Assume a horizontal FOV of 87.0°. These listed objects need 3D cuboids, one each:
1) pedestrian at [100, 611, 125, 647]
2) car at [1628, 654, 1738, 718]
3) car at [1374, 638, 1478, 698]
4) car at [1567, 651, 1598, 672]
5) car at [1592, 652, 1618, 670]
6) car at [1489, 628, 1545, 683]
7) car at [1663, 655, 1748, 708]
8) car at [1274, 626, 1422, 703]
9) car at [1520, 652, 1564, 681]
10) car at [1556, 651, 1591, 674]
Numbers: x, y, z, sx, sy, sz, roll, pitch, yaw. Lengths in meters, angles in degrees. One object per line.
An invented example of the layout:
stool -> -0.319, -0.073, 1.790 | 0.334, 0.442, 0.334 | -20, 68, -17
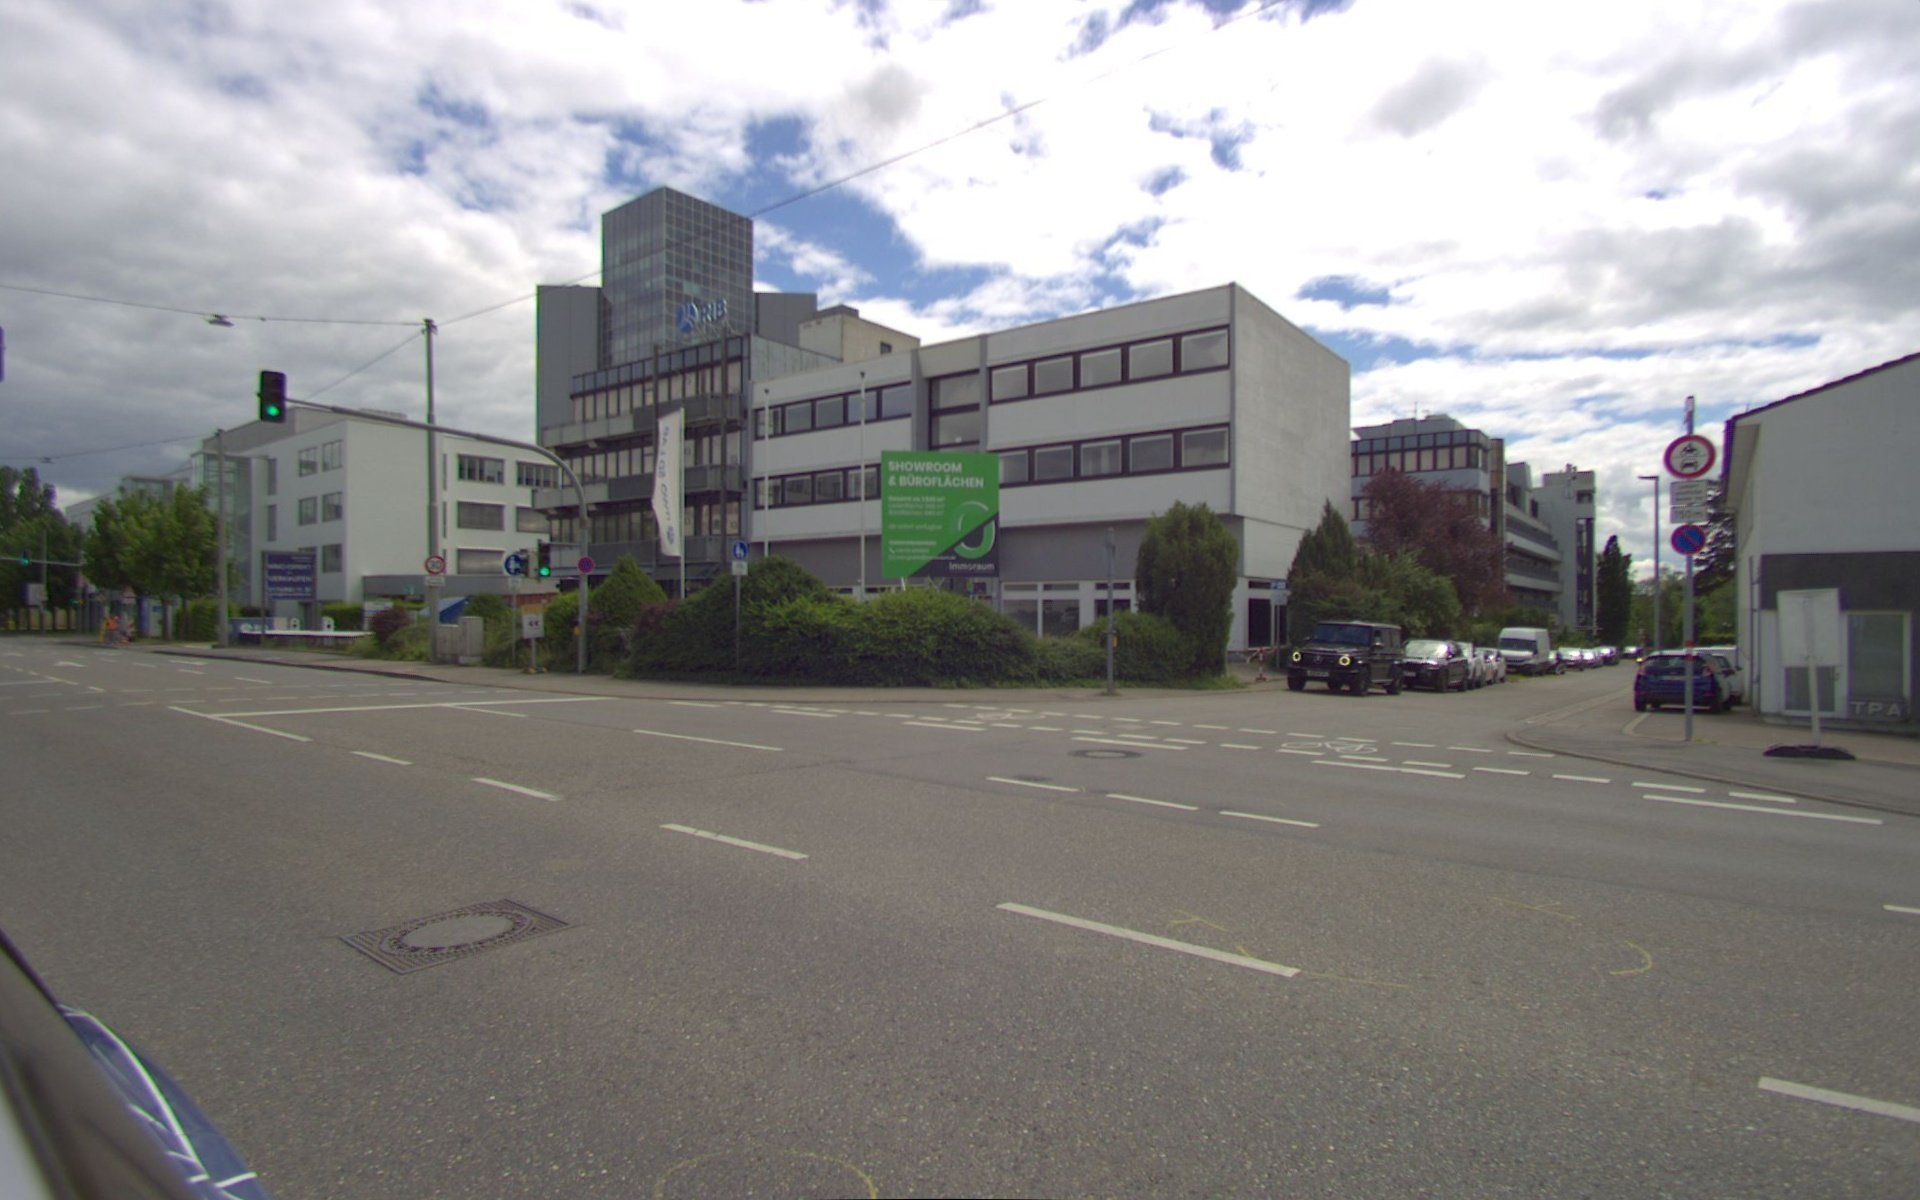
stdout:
pedestrian -> -48.674, 1.655, 58.131 | 0.715, 2.029, 0.812 | -1, 1, -7
car -> 17.589, 2.048, 24.549 | 1.809, 1.431, 3.886 | -3, -5, 40
car -> 14.895, 2.181, 32.241 | 1.999, 1.719, 3.946 | 0, -4, 40
car -> 48.960, 4.803, 79.622 | 1.665, 1.479, 3.773 | 0, -1, 38
car -> 58.063, 5.491, 91.115 | 1.665, 1.479, 3.773 | 0, -1, 38
car -> 30.179, 2.958, 54.796 | 2.101, 2.627, 4.358 | 0, 1, 37
car -> 21.504, 2.324, 29.211 | 1.807, 1.431, 3.890 | -3, -5, 37
car -> 10.599, 1.759, 27.445 | 2.170, 1.806, 4.703 | 2, -2, 42
car -> 34.175, 3.871, 59.359 | 1.746, 1.539, 3.773 | 0, -1, 38
car -> 42.828, 4.331, 70.622 | 1.665, 1.479, 3.773 | 0, -1, 38
